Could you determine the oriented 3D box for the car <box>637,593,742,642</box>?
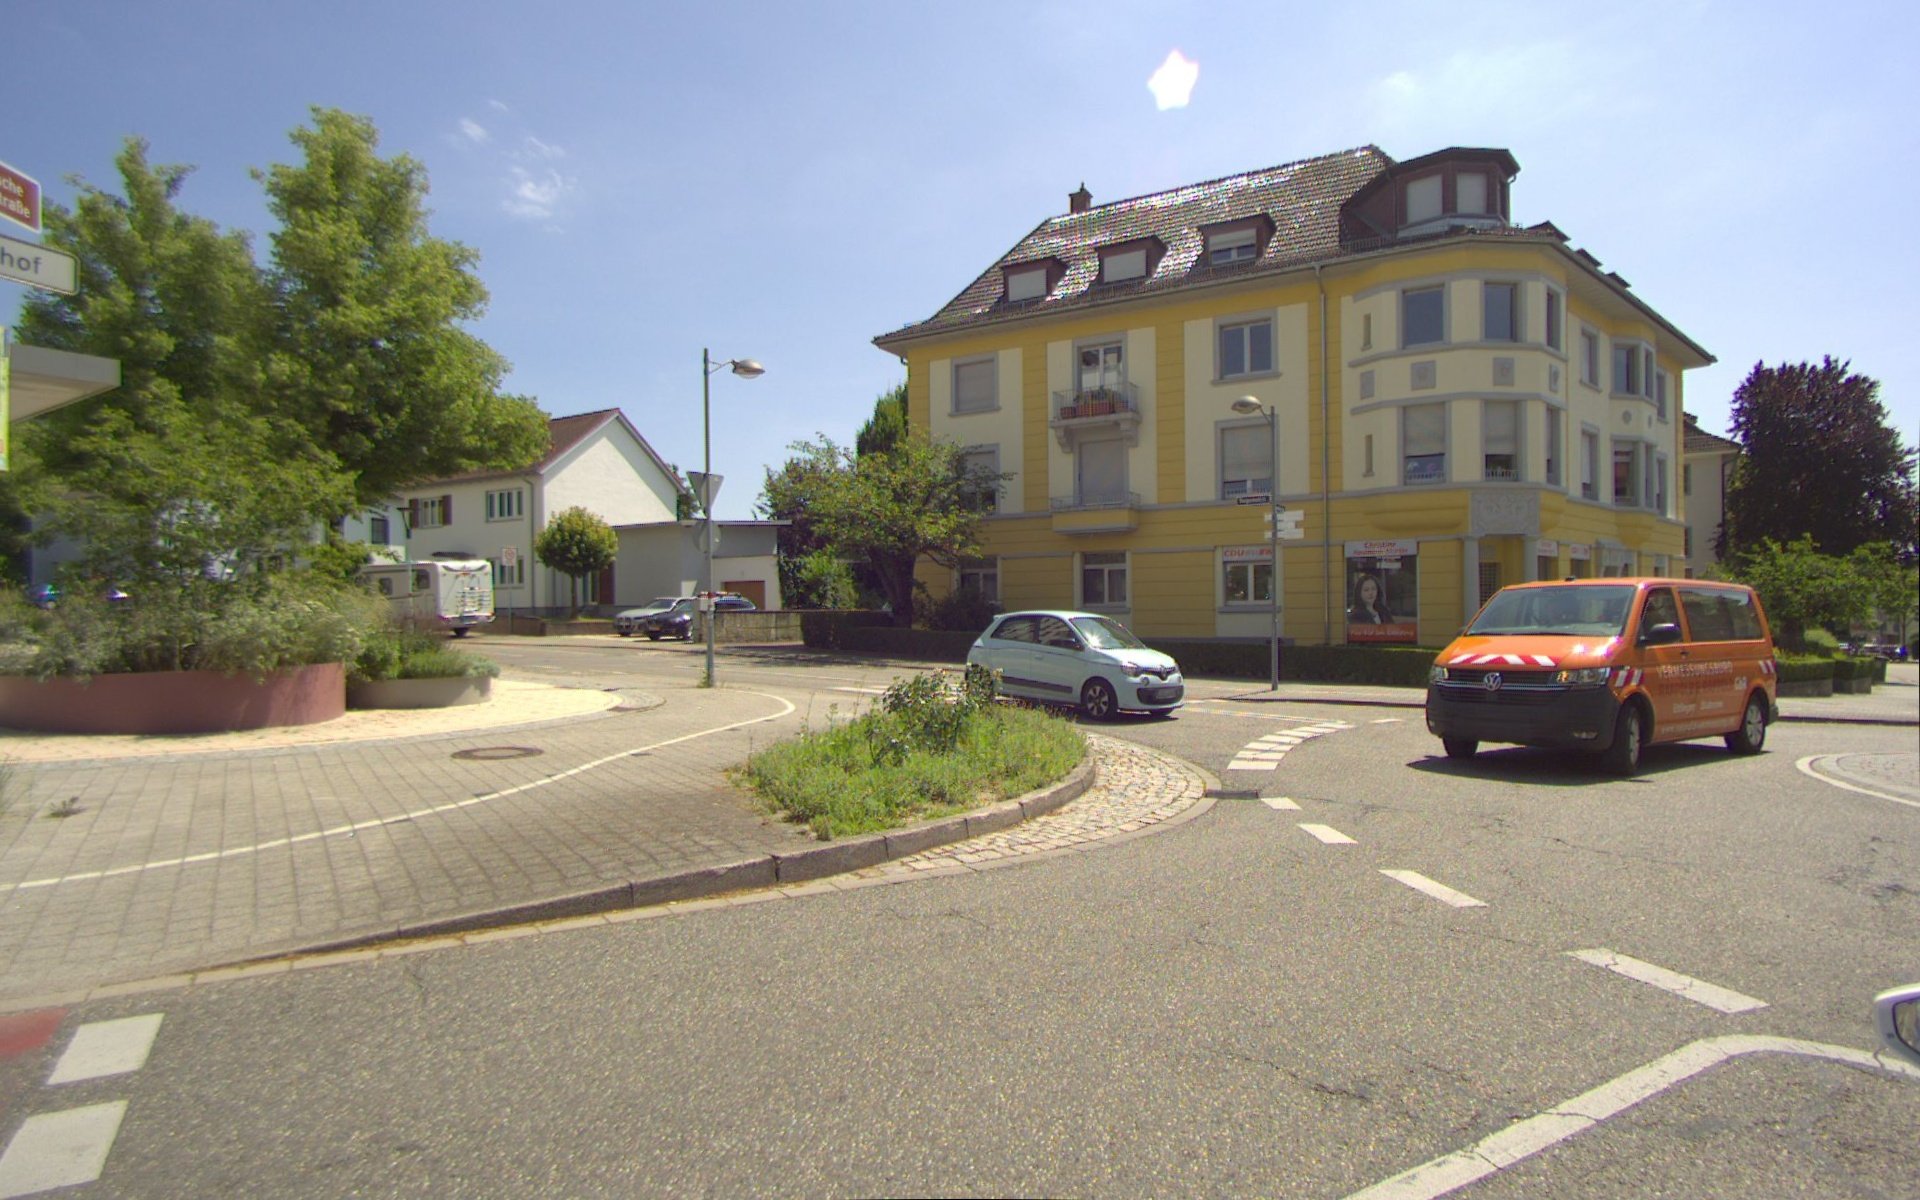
[{"bbox_3d":[-9.426,0.603,35.383,1.721,1.607,3.994,1,-1,16],"label":"car"}]

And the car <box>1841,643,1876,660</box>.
[{"bbox_3d":[89.413,5.070,100.010,1.966,1.529,4.407,1,-1,33],"label":"car"}]

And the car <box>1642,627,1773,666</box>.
[{"bbox_3d":[32.713,2.025,44.134,4.338,1.529,1.998,1,-1,28],"label":"car"}]

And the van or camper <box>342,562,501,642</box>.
[{"bbox_3d":[-19.343,-0.006,36.002,5.780,2.674,2.270,1,2,30],"label":"van or camper"}]

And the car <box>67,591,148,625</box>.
[{"bbox_3d":[-40.675,0.371,47.899,3.922,1.525,1.753,1,-1,31],"label":"car"}]

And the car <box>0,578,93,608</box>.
[{"bbox_3d":[-54.930,-0.418,60.182,1.782,1.630,4.118,1,-1,23],"label":"car"}]

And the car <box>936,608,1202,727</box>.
[{"bbox_3d":[1.603,0.946,15.882,1.649,1.545,4.109,0,1,-43],"label":"car"}]

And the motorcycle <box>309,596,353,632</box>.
[{"bbox_3d":[-24.136,0.545,38.582,0.727,1.337,2.228,1,-1,-13],"label":"motorcycle"}]

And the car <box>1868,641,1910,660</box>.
[{"bbox_3d":[83.132,4.513,89.935,1.966,1.529,4.407,1,-1,33],"label":"car"}]

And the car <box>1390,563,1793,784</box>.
[{"bbox_3d":[7.161,0.672,11.220,4.967,1.985,1.932,0,-1,-33],"label":"car"}]

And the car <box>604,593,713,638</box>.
[{"bbox_3d":[-11.371,0.590,38.128,1.724,1.607,3.988,1,-1,26],"label":"car"}]

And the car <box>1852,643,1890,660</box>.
[{"bbox_3d":[86.200,4.839,95.084,1.966,1.529,4.407,1,-1,33],"label":"car"}]
